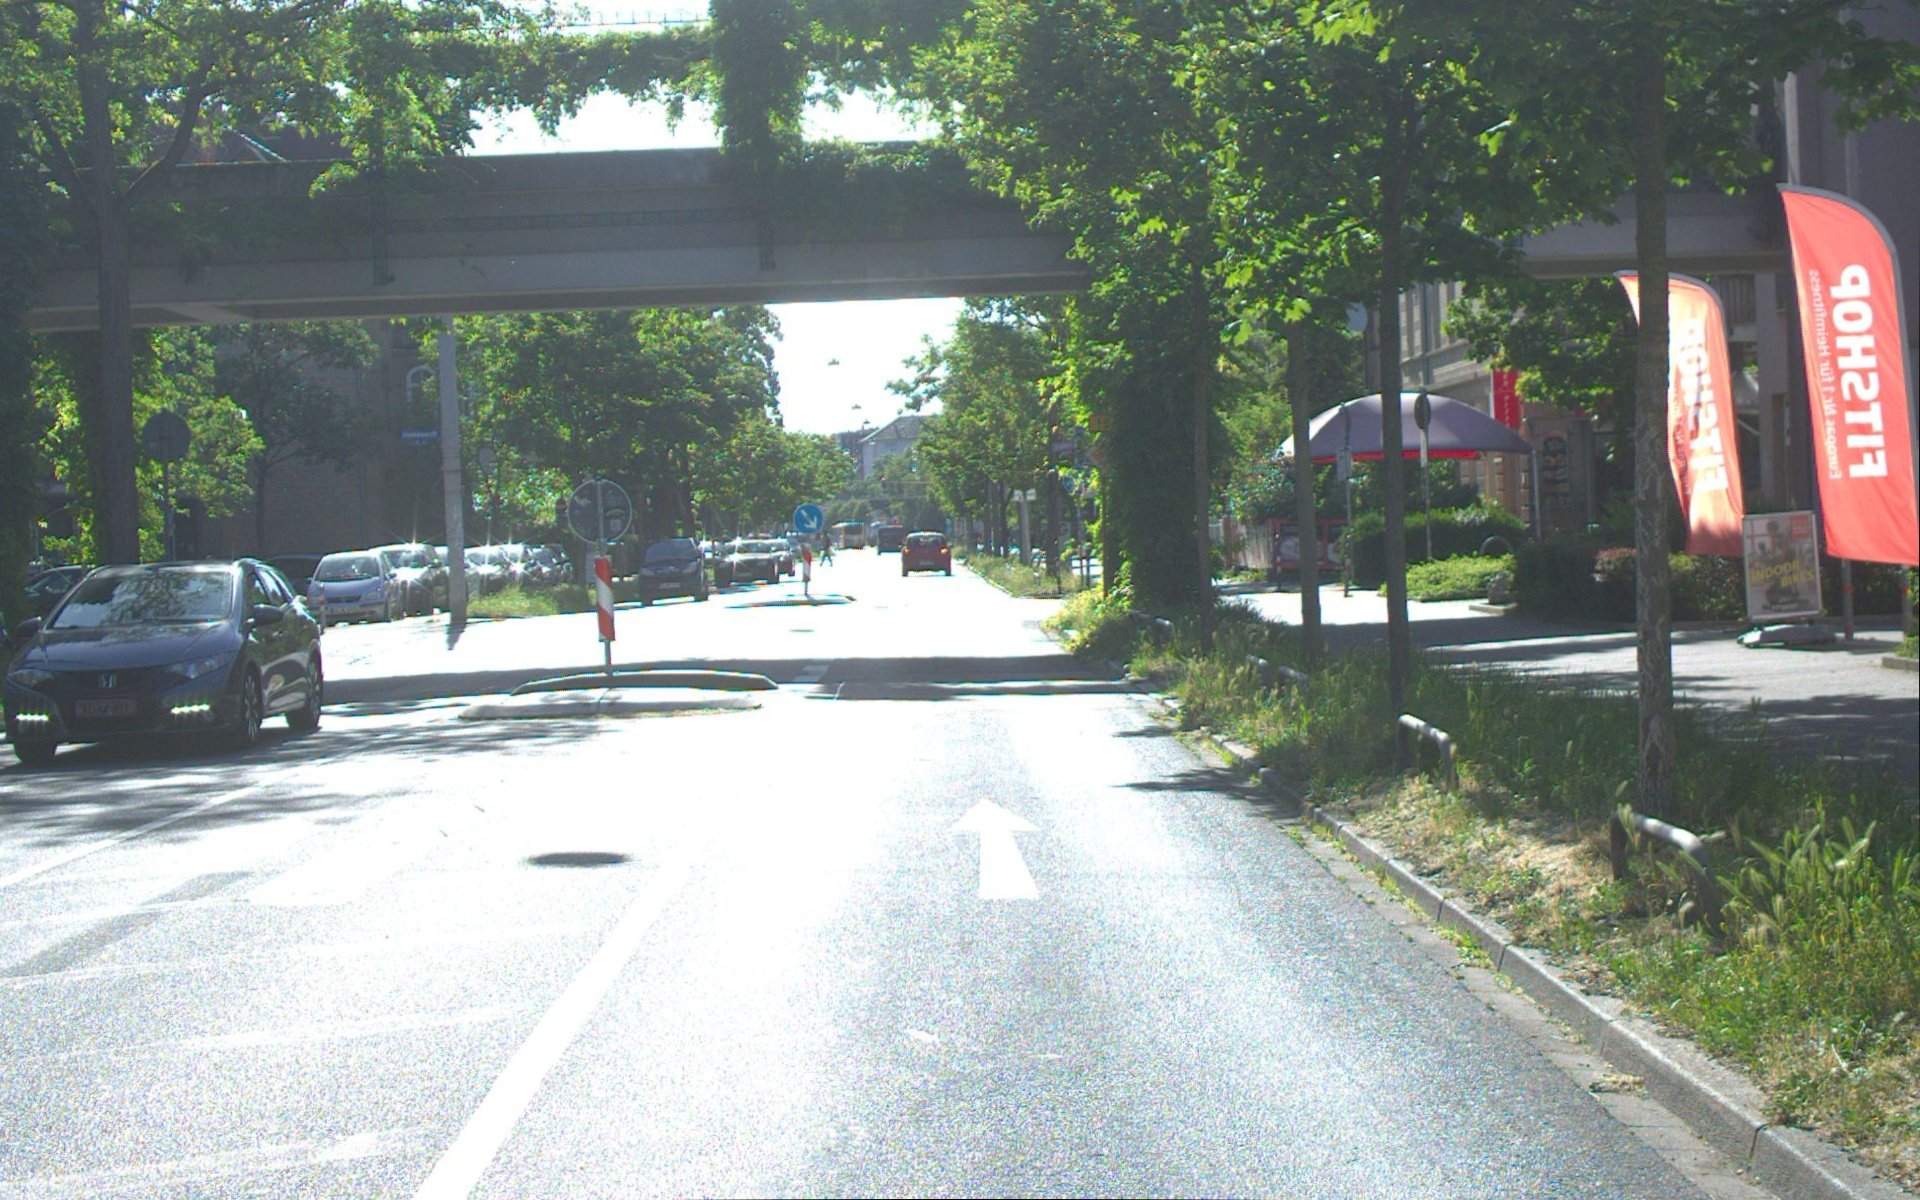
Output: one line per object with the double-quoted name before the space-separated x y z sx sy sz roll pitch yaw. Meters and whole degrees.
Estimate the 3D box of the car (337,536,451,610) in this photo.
"car" -12.283 -0.611 74.864 1.855 1.517 4.319 -1 1 -2

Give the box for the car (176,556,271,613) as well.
"car" -20.793 -0.454 97.211 1.855 1.517 4.319 -1 1 -2

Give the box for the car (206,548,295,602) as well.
"car" -21.280 -0.758 103.216 1.855 1.517 4.319 -1 1 -2

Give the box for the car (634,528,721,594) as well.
"car" -6.799 -0.959 83.124 1.855 1.517 4.319 -1 1 -2

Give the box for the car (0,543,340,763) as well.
"car" -6.161 0.350 26.818 1.856 1.435 4.319 -4 1 -1

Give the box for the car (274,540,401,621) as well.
"car" -12.340 -0.409 68.338 1.855 1.517 4.078 -1 1 -2

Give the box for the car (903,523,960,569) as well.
"car" -0.951 -1.870 118.122 1.856 1.517 4.319 -1 1 1

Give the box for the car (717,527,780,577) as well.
"car" -6.745 -1.552 109.887 1.855 1.517 4.319 -1 1 -2

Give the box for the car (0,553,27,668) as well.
"car" -11.823 0.153 38.894 1.633 1.302 3.583 -1 1 -2
